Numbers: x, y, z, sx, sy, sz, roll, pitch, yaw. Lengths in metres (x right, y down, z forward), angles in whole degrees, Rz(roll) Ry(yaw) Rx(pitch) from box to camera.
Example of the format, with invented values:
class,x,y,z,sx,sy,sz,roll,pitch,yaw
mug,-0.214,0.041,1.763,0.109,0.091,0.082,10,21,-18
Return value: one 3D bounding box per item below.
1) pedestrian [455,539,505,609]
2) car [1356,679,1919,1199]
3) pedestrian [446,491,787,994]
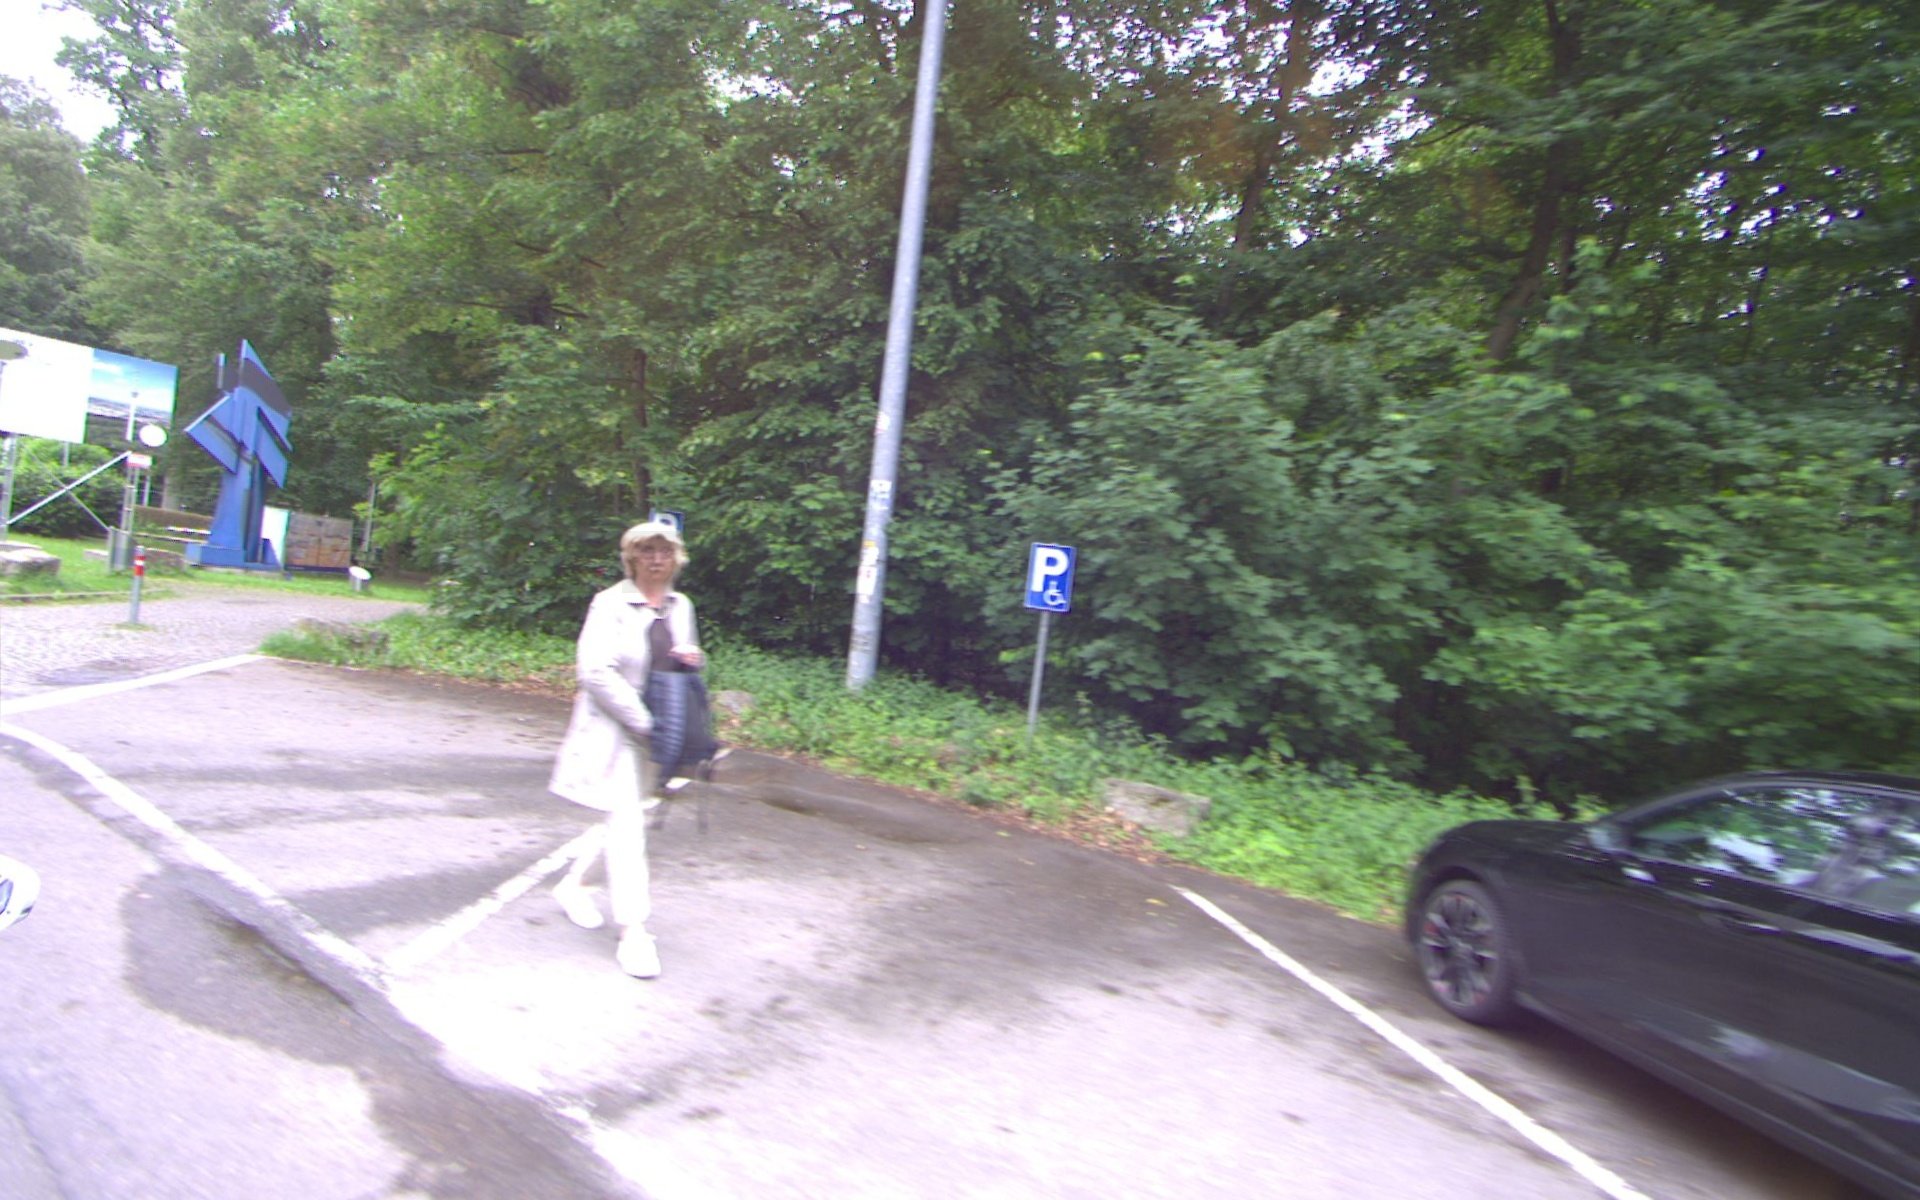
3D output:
class,x,y,z,sx,sy,sz,roll,pitch,yaw
pedestrian,-12.199,-0.654,25.568,0.764,1.654,0.637,7,0,2
car,3.470,1.294,3.577,1.867,1.479,4.200,8,-1,-8
pedestrian,-1.391,0.507,4.089,0.883,1.746,0.762,8,0,38
